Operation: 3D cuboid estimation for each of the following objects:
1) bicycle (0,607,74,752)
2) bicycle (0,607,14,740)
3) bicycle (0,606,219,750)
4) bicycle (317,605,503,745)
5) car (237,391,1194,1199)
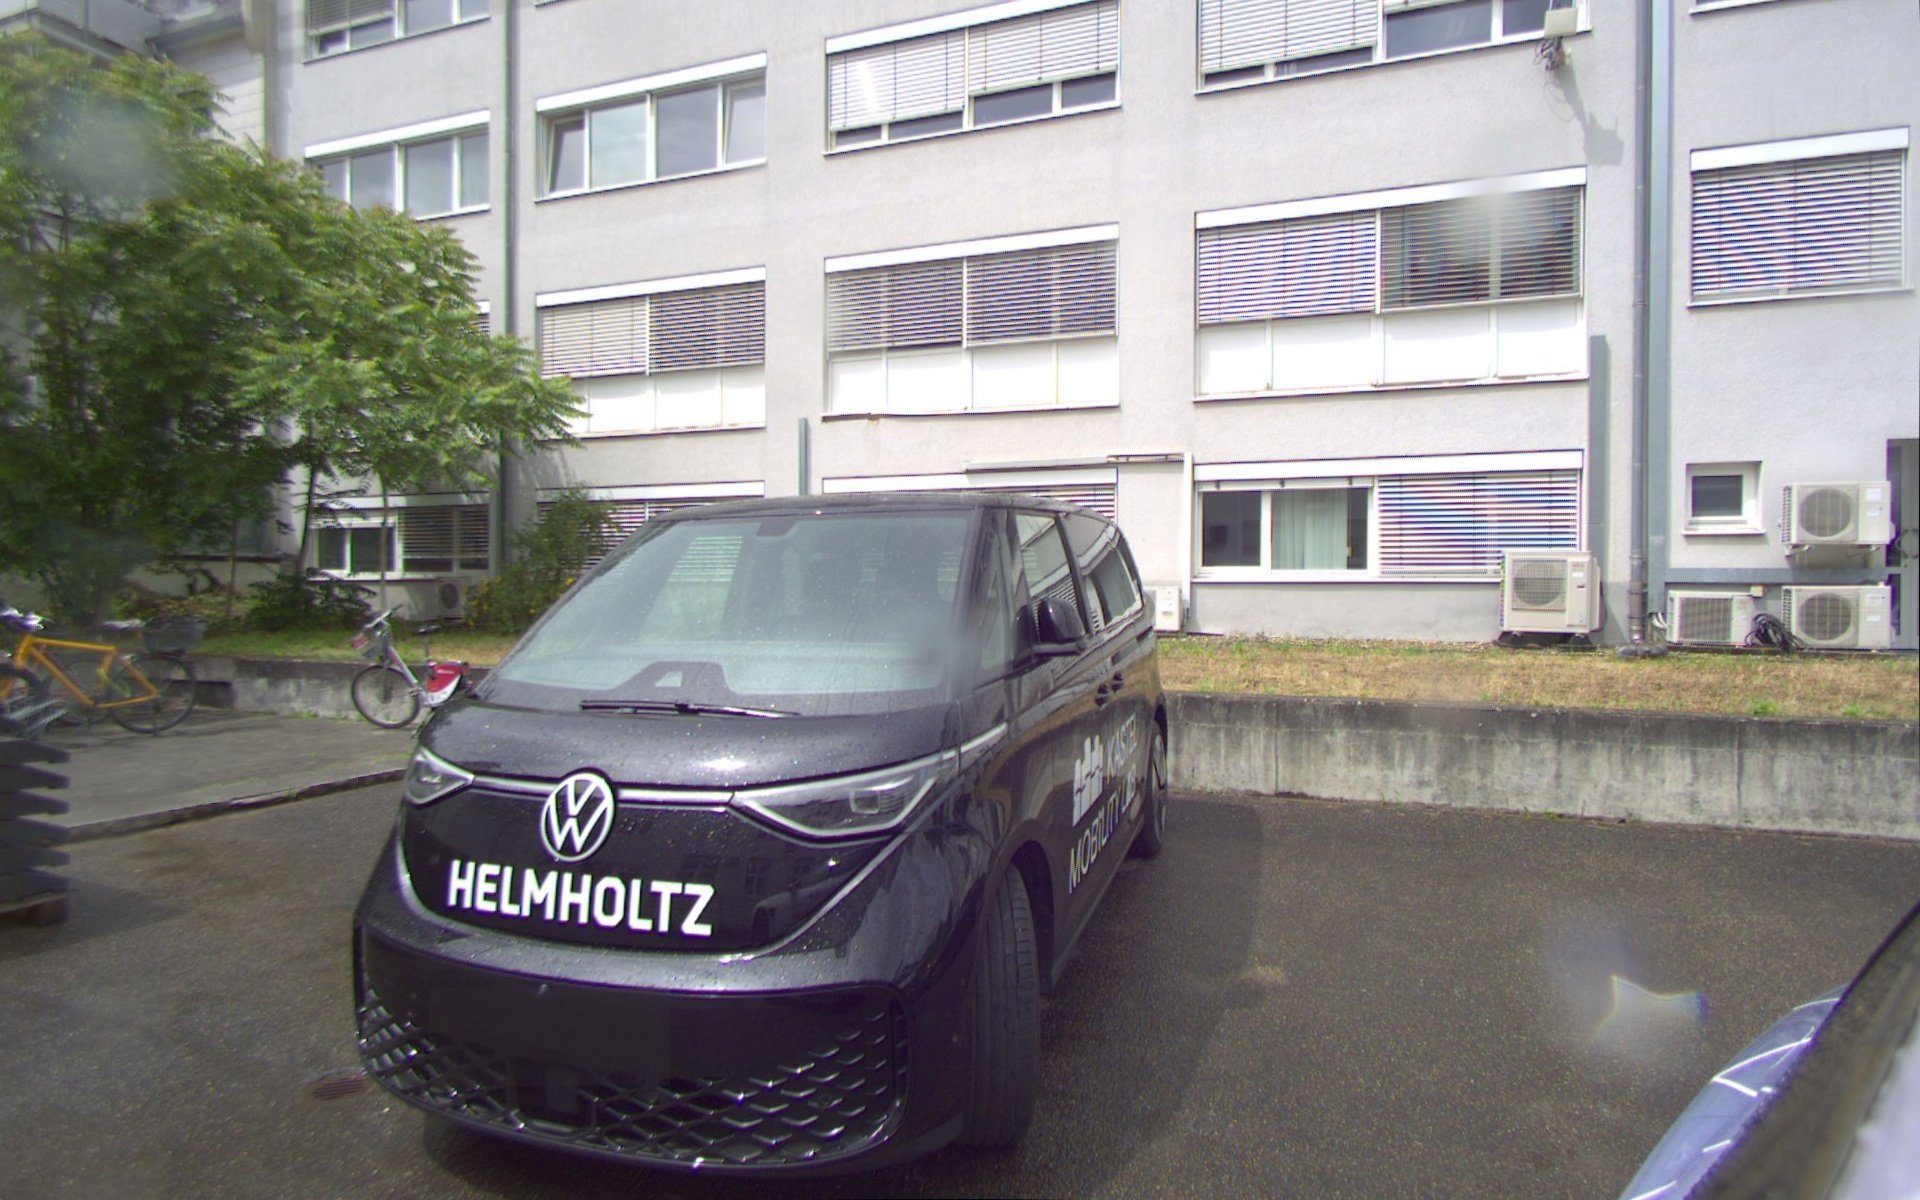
[{"bbox_3d":[-7.891,0.632,7.646,0.401,1.118,1.779,1,1,27],"label":"bicycle"},{"bbox_3d":[-8.639,0.633,7.930,0.351,1.118,1.779,1,1,27],"label":"bicycle"},{"bbox_3d":[-7.486,0.623,8.735,0.363,1.118,1.779,1,1,27],"label":"bicycle"},{"bbox_3d":[-4.921,0.634,9.036,1.776,1.117,0.443,1,3,24],"label":"bicycle"},{"bbox_3d":[-0.172,0.472,4.499,1.945,1.888,4.721,0,2,18],"label":"car"}]
